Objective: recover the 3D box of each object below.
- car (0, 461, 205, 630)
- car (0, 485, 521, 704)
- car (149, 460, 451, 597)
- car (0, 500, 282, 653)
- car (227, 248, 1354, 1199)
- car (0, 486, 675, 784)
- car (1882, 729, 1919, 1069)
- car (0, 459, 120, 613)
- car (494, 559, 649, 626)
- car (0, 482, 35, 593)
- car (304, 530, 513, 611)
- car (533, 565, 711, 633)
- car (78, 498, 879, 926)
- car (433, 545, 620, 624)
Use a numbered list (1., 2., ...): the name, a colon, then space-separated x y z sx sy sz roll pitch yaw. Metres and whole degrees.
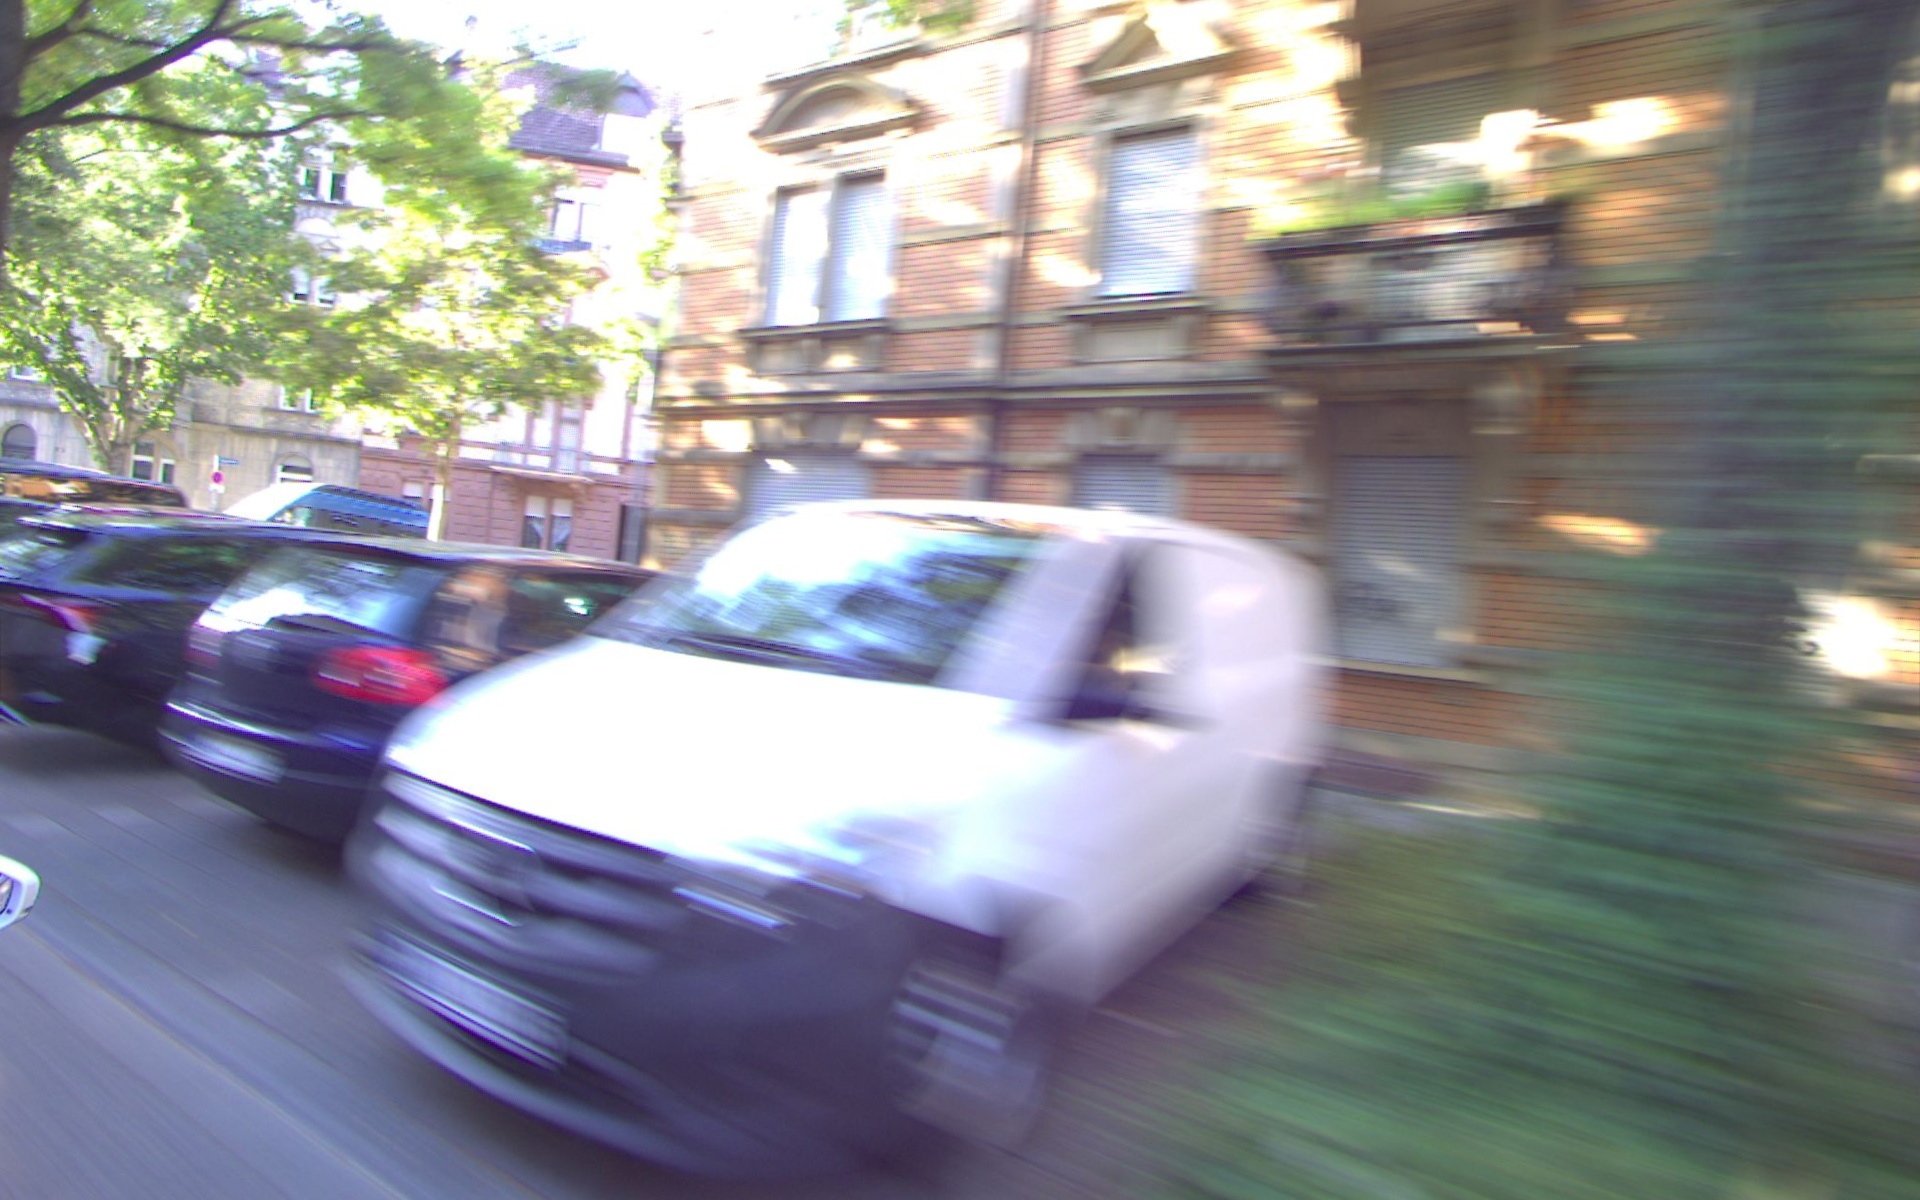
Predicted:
1. car: -12.082 -0.761 12.121 1.906 1.908 4.277 6 0 27
2. car: -6.403 0.002 9.089 1.813 1.516 4.085 6 0 31
3. car: -16.421 -1.660 25.536 2.337 2.568 5.910 6 -1 25
4. car: -10.156 -0.314 11.088 1.860 1.466 3.987 6 0 35
5. car: 0.158 0.493 4.525 2.123 1.962 5.098 2 -2 31
6. car: -4.443 0.219 7.260 1.902 1.474 4.374 6 0 31
7. car: 4.038 1.074 2.369 1.695 1.669 3.891 6 0 29
8. car: -14.446 -1.059 13.311 1.966 2.038 4.623 6 0 28
9. car: -12.432 -0.220 32.429 4.170 1.601 1.865 7 0 -7
10. car: -16.647 -1.181 14.839 1.769 1.713 3.993 6 0 29
11. car: -13.776 -0.684 25.441 1.880 1.523 4.305 6 0 23
12. car: -8.396 0.014 25.361 1.831 1.292 4.063 6 0 27
13. car: -2.252 0.448 5.913 1.749 1.494 3.995 6 1 24
14. car: -10.991 -0.343 25.793 1.831 1.528 4.064 6 -1 27
